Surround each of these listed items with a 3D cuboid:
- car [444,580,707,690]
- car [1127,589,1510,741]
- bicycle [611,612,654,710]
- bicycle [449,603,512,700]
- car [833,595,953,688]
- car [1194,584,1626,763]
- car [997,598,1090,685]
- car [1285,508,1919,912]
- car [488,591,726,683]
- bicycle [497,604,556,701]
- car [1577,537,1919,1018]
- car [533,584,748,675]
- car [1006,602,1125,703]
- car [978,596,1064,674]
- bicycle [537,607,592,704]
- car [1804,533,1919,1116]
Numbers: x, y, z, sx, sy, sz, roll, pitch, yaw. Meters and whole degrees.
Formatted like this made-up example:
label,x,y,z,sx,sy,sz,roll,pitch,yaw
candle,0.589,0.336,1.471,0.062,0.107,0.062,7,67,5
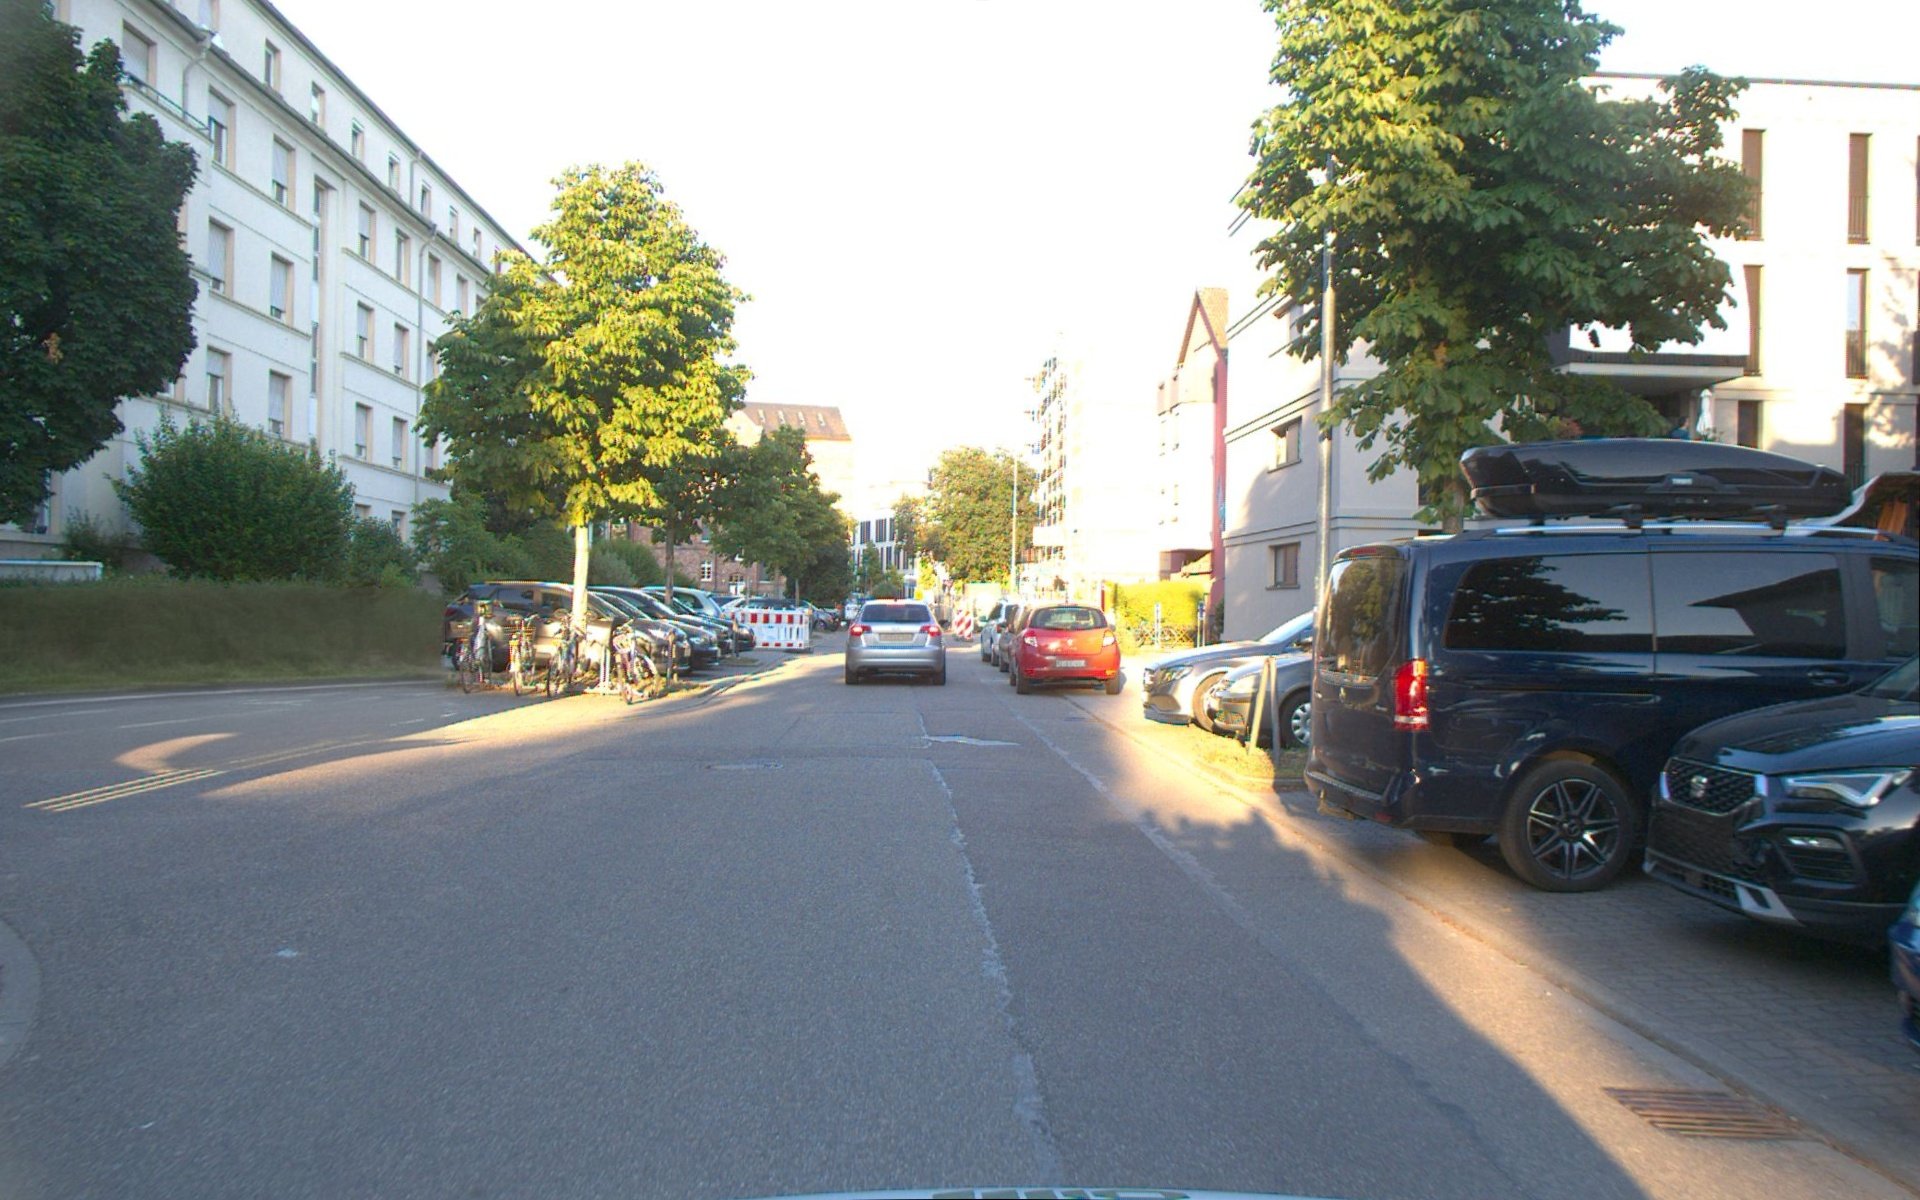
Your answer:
label,x,y,z,sx,sy,sz,roll,pitch,yaw
car,-6.256,0.558,27.308,3.908,1.654,1.998,2,0,-4
car,4.187,0.719,19.635,4.070,1.599,1.795,-1,0,-7
bicycle,-4.485,0.807,22.708,0.398,1.249,1.984,1,0,-7
bicycle,-6.575,0.675,22.754,0.398,1.249,1.985,1,0,-4
car,-1.242,0.688,29.031,1.773,1.514,3.993,0,0,-7
car,4.581,0.727,17.191,3.864,1.678,1.973,2,0,-7
car,1.627,0.788,33.197,1.630,1.601,3.440,2,0,-1
car,4.422,0.609,9.805,4.467,2.058,2.099,2,0,-5
car,-6.302,0.637,29.878,3.908,1.506,1.998,2,0,-4
bicycle,-5.939,0.686,22.719,0.398,1.249,1.985,1,0,-4
car,5.067,0.678,7.324,3.908,1.799,1.998,1,0,-4
car,-6.216,0.556,32.526,3.908,1.633,1.871,2,0,-4
car,1.708,0.821,27.687,1.695,1.509,3.557,2,0,-1
car,1.353,0.765,38.073,1.772,1.641,3.580,2,0,-1
bicycle,-5.411,0.736,22.708,0.398,1.249,1.985,1,0,-4
car,4.763,0.701,4.675,3.911,1.680,1.762,2,0,-7
